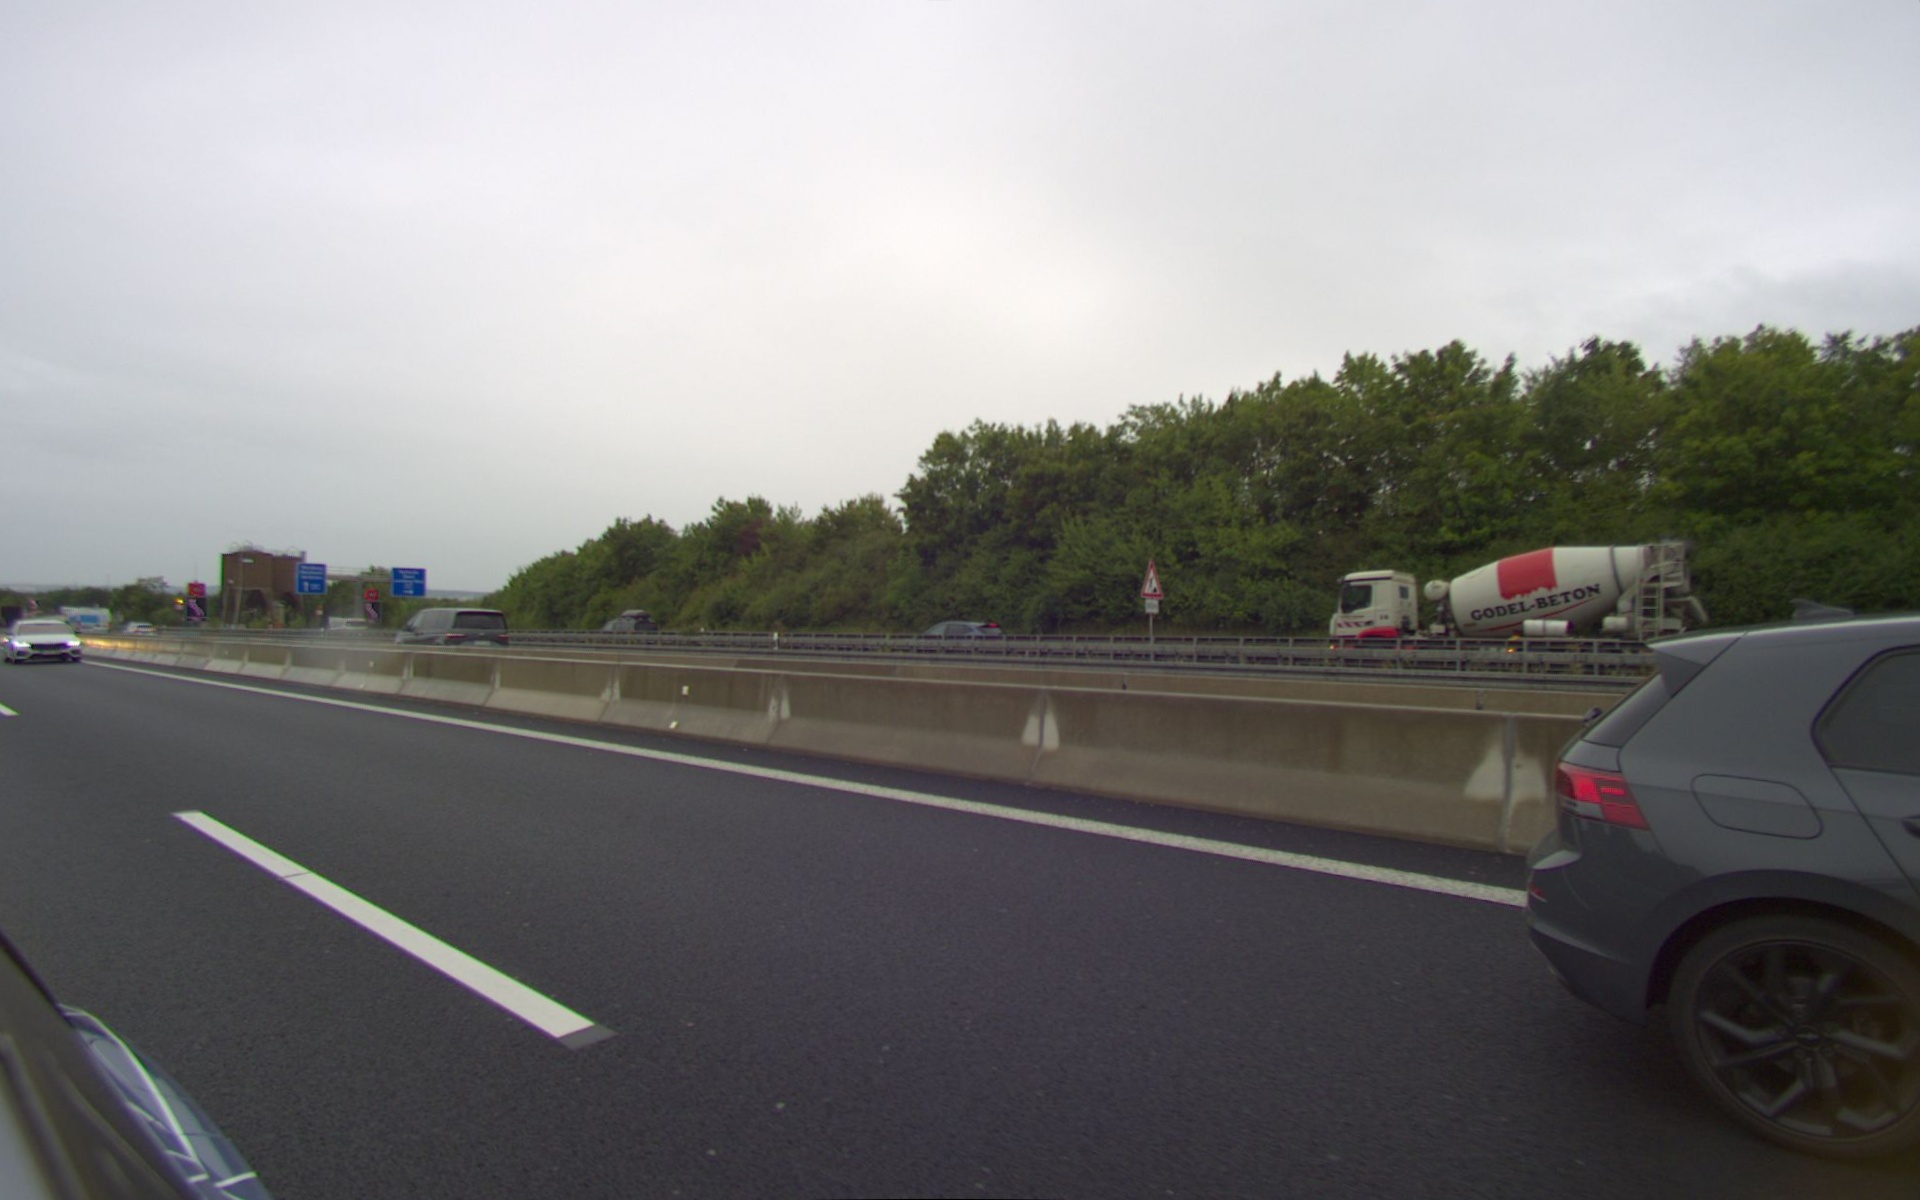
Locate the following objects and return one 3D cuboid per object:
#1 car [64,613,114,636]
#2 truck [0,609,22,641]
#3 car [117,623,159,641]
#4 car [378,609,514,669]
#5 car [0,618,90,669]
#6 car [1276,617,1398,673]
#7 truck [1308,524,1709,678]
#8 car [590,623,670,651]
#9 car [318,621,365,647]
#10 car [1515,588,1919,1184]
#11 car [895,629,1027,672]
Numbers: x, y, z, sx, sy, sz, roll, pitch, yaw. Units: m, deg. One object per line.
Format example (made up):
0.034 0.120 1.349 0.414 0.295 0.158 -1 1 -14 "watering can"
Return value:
-67.492 1.892 78.373 5.906 1.706 2.332 -1 -2 43 "car"
-144.650 3.783 153.057 10.486 4.769 3.362 -1 -1 43 "truck"
-68.142 2.641 83.920 4.678 1.446 1.973 -2 0 42 "car"
-15.940 1.179 31.262 5.023 1.663 1.973 -2 0 41 "car"
-31.717 1.471 34.966 4.816 1.603 1.972 -2 -1 43 "car"
14.274 1.654 38.423 4.000 2.029 1.730 -1 -2 43 "car"
14.984 0.125 28.466 9.553 3.689 2.657 -1 -2 41 "truck"
-17.392 1.935 53.213 4.675 1.417 1.972 -1 -2 43 "car"
-50.906 2.750 83.216 4.713 2.029 1.973 -1 -1 41 "car"
3.881 0.667 2.223 4.367 1.436 1.811 -1 -1 42 "car"
-0.015 1.782 36.574 4.675 1.417 1.972 -1 -2 43 "car"
